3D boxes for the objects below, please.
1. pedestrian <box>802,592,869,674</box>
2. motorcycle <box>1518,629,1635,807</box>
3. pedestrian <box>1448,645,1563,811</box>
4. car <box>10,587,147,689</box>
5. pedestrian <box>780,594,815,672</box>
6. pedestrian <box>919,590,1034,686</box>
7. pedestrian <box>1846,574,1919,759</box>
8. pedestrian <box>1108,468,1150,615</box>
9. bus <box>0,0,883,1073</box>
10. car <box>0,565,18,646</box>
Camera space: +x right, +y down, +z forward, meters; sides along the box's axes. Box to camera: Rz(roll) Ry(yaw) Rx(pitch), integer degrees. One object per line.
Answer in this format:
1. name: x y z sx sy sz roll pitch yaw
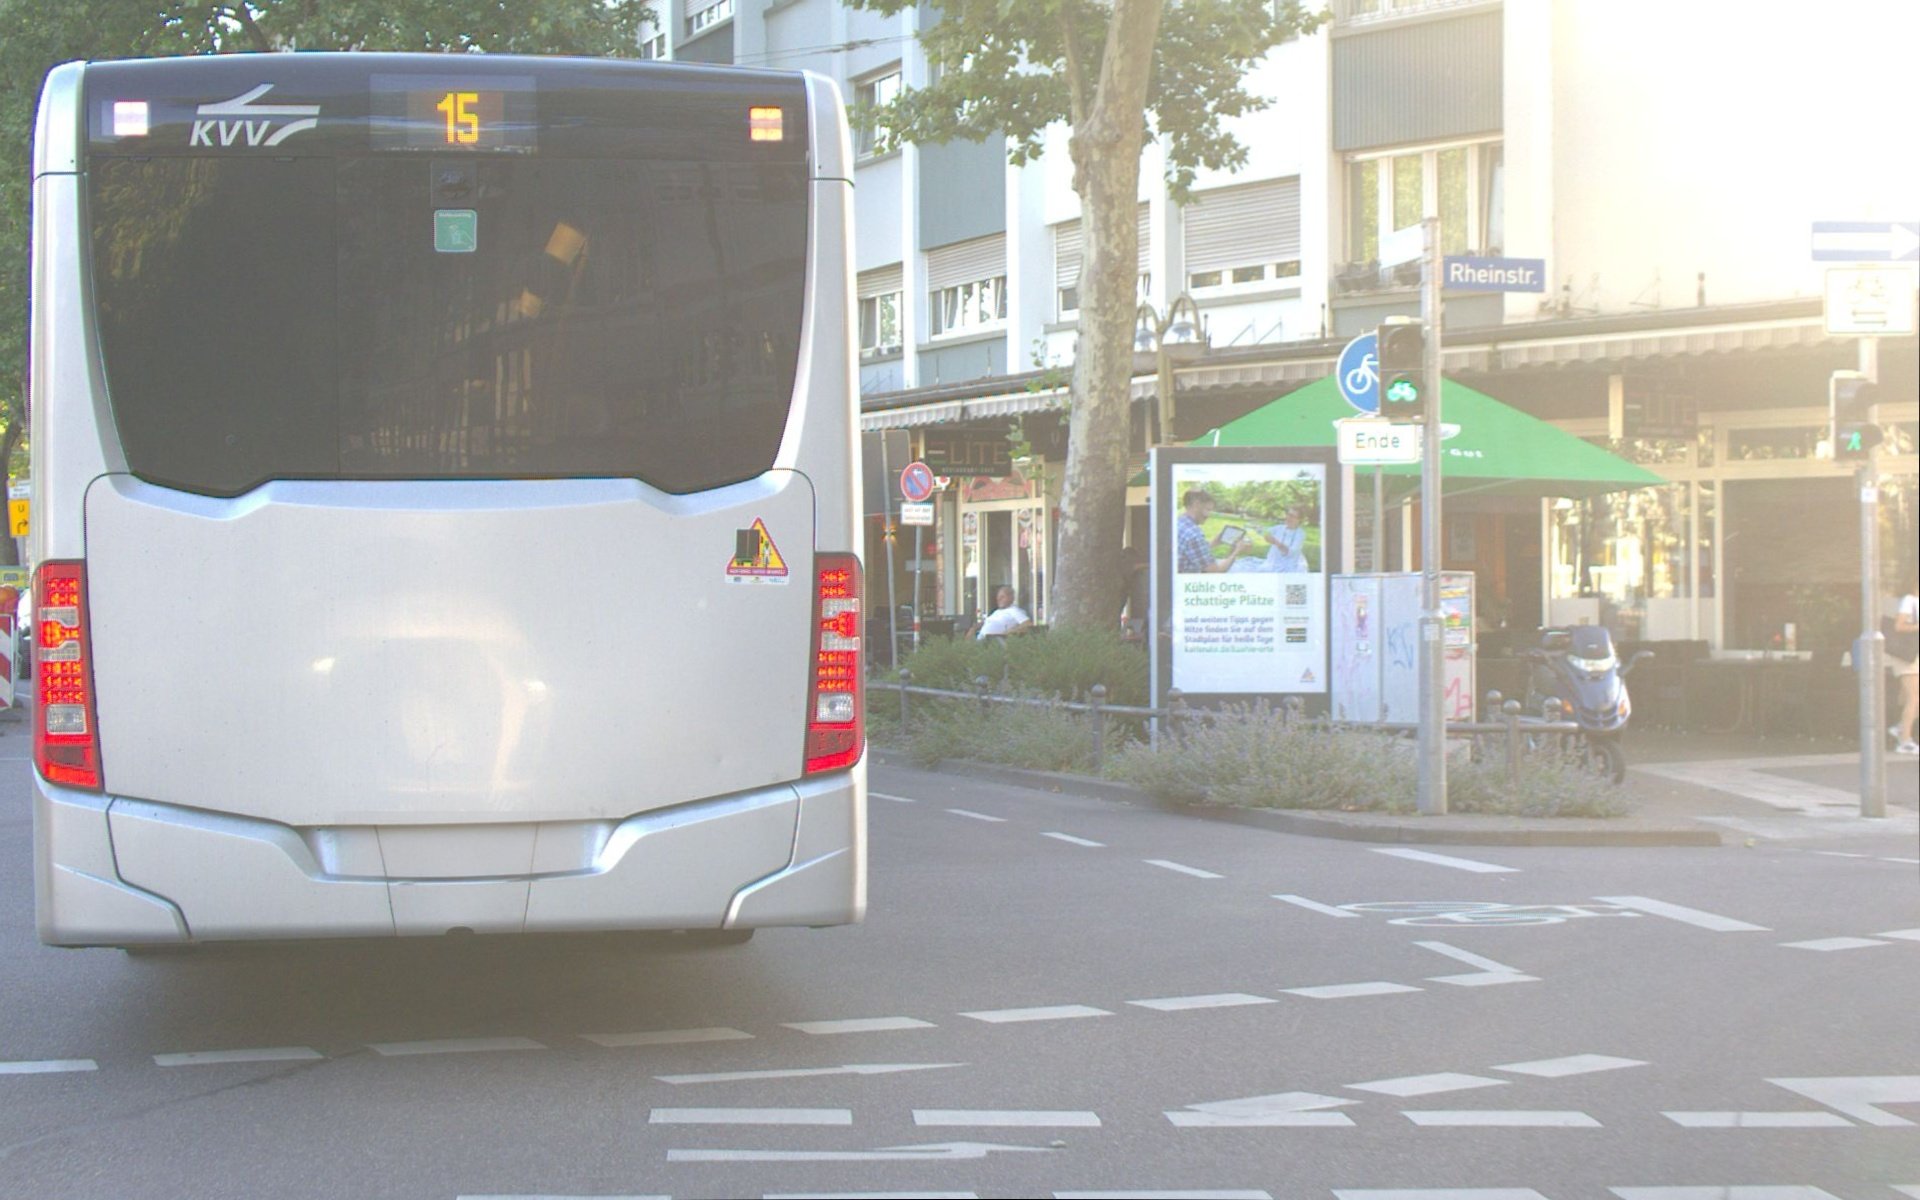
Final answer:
1. pedestrian: -1.709 0.445 47.243 0.705 1.105 0.766 0 0 -22
2. motorcycle: 4.215 0.787 23.581 0.570 1.154 1.460 2 0 3
3. pedestrian: 4.225 0.986 26.651 0.550 1.239 0.732 2 1 -20
4. car: -13.277 0.537 51.669 1.755 1.459 4.001 0 0 -18
5. pedestrian: -2.340 0.476 49.511 0.387 1.118 0.393 0 0 -23
6. pedestrian: 0.202 0.469 43.329 1.177 1.193 0.926 0 0 -22
7. pedestrian: 8.069 0.563 29.324 0.602 1.543 0.716 2 1 -39
8. pedestrian: 1.987 -0.683 40.478 0.357 1.712 0.309 2 0 -15
9. bus: -2.463 -0.198 15.075 2.657 3.088 10.218 0 0 -10
10. car: -18.652 0.088 63.862 1.755 1.459 4.001 0 0 -22
